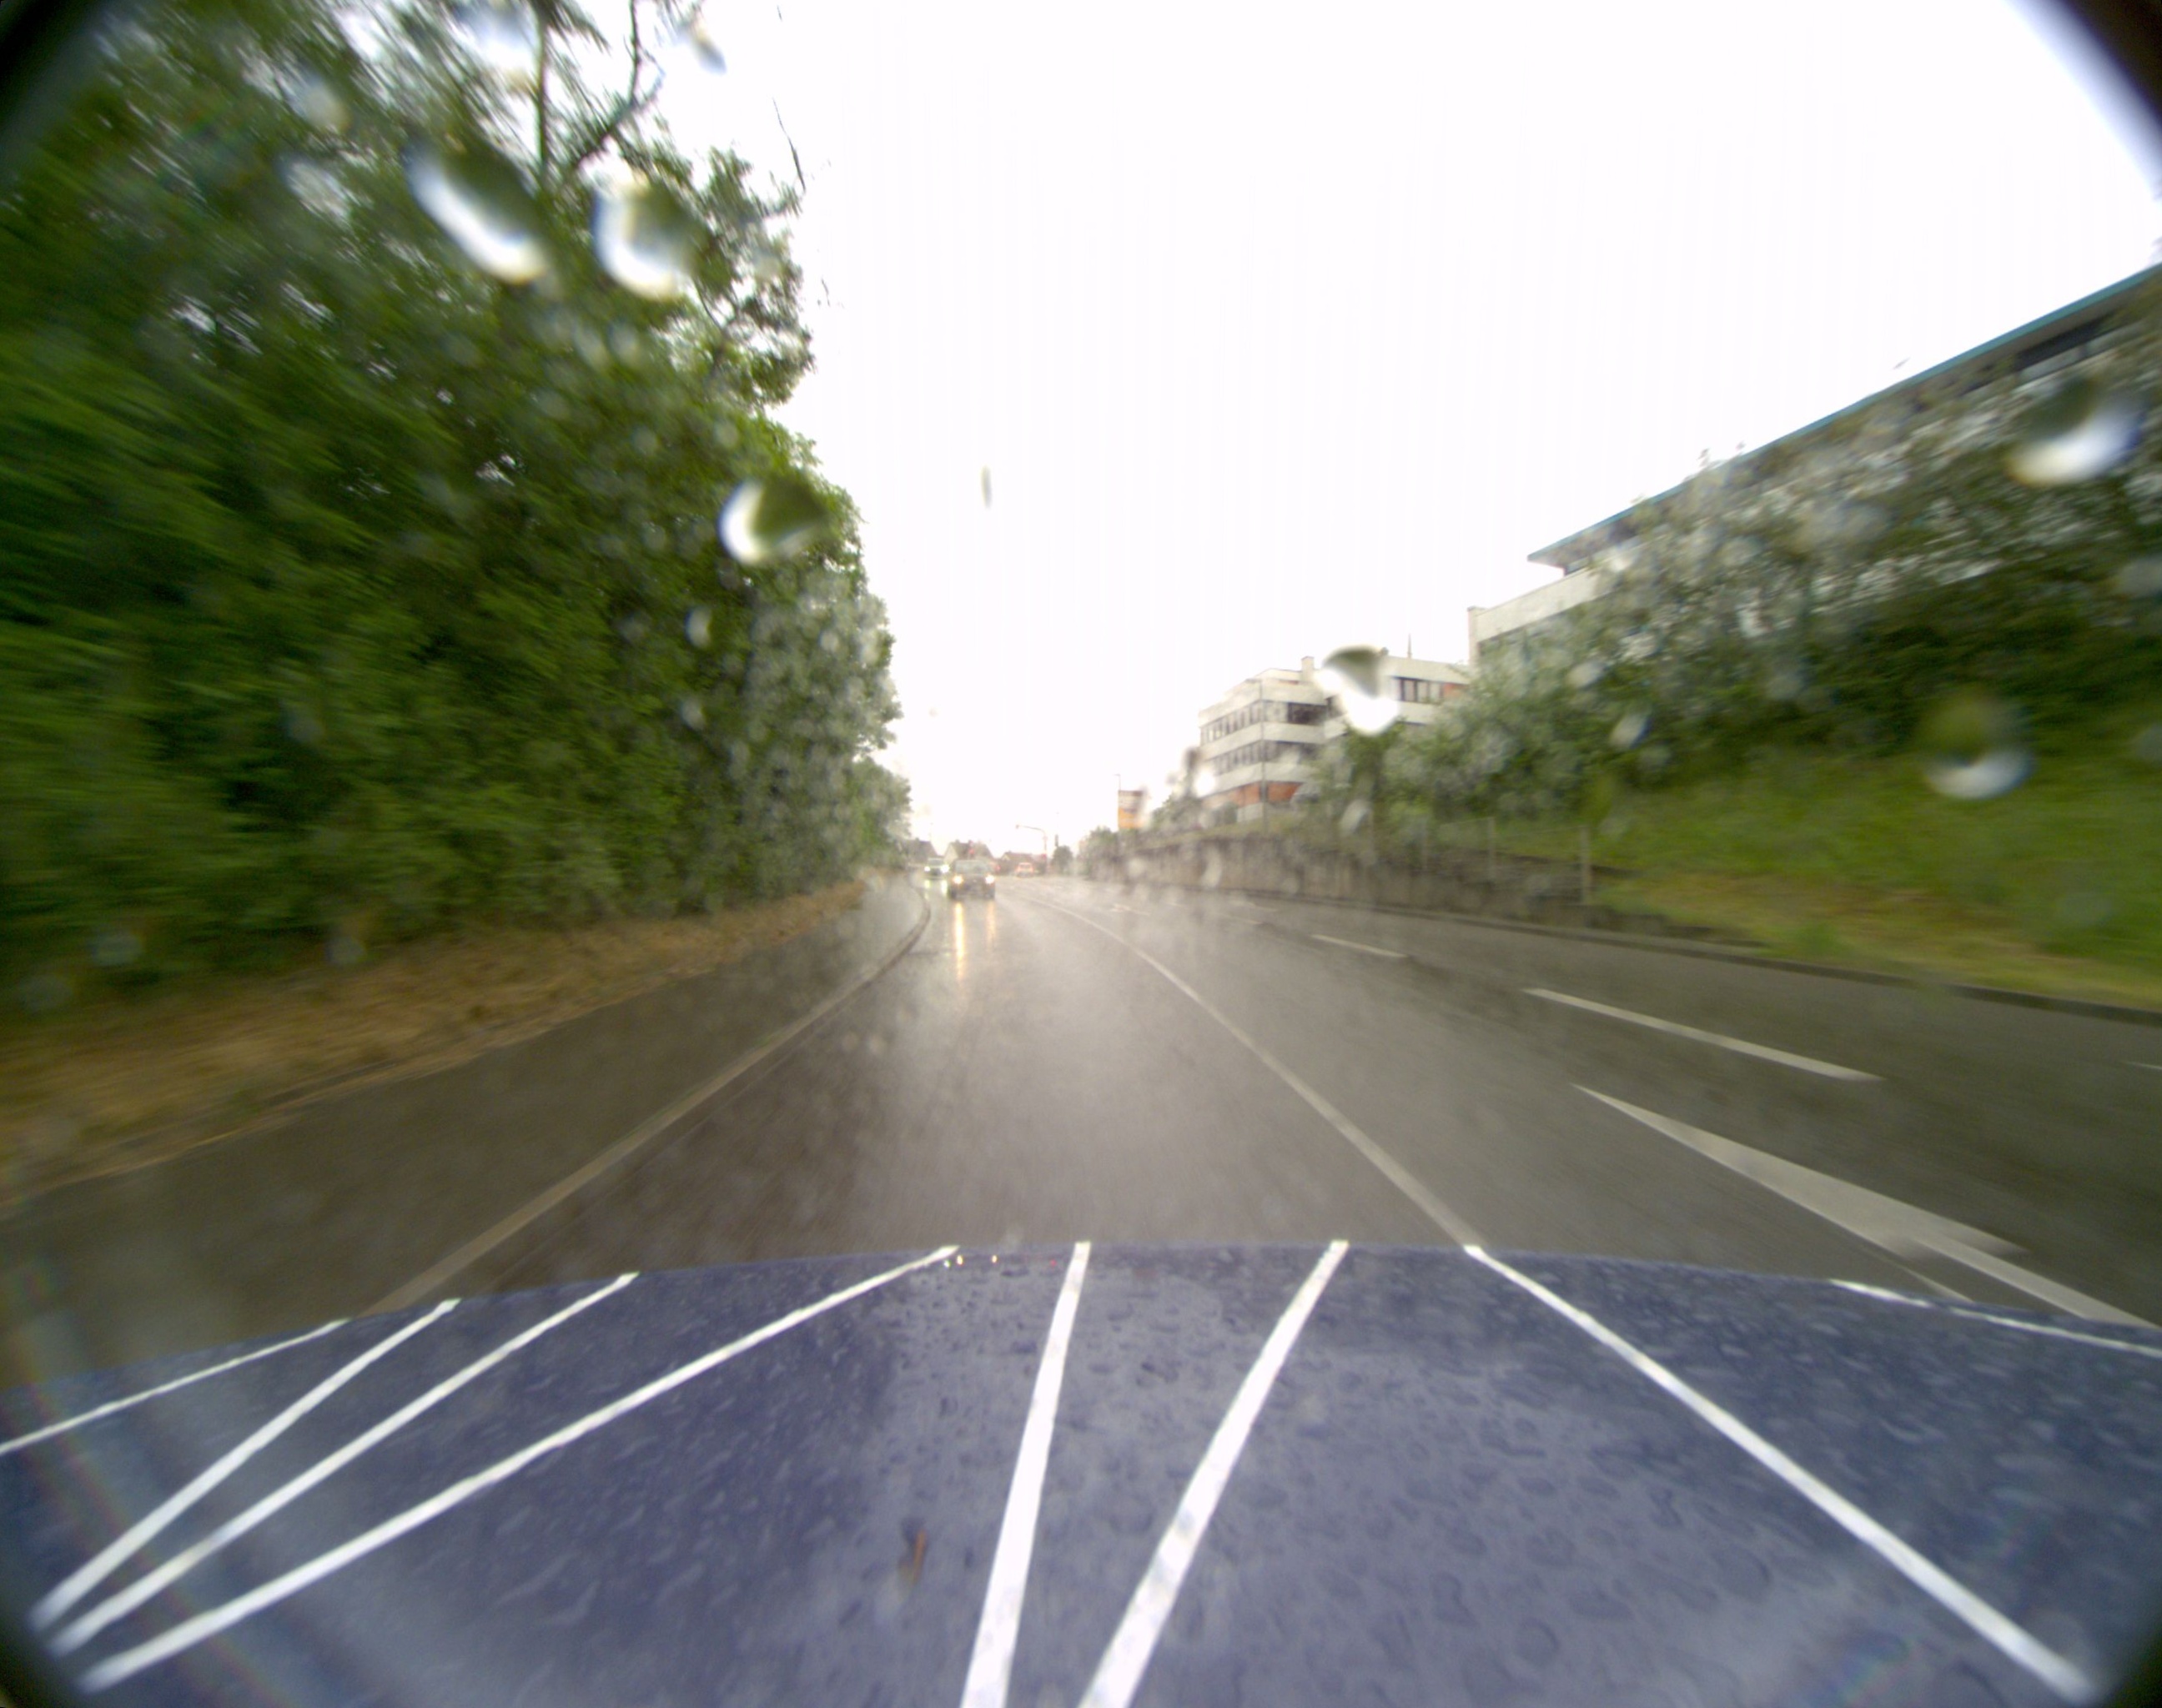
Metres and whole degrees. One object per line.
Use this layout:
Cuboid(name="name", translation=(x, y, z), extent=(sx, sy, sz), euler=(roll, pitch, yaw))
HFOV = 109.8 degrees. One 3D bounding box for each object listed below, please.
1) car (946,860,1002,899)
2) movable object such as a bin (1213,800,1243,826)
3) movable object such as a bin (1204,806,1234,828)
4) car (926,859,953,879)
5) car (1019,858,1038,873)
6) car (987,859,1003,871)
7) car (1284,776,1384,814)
Cuboid(name="car", translation=(-4.447, 0.978, 31.135), extent=(1.876, 1.432, 4.372), euler=(0, 0, -13))
Cuboid(name="movable object such as a bin", translation=(8.095, -2.243, 41.875), extent=(1.245, 1.338, 1.216), euler=(-1, 0, -10))
Cuboid(name="movable object such as a bin", translation=(7.842, -2.095, 43.223), extent=(1.245, 1.204, 1.341), euler=(-1, 0, -11))
Cuboid(name="car", translation=(-10.644, 1.096, 57.091), extent=(1.876, 1.432, 4.373), euler=(1, -1, -11))
Cuboid(name="car", translation=(-5.517, 1.181, 79.223), extent=(1.739, 1.452, 3.718), euler=(-1, 1, -7))
Cuboid(name="car", translation=(-9.822, 1.273, 87.020), extent=(1.739, 1.297, 3.718), euler=(-1, 1, -7))
Cuboid(name="car", translation=(10.617, -2.451, 32.302), extent=(1.920, 1.335, 4.526), euler=(-1, 1, -14))
